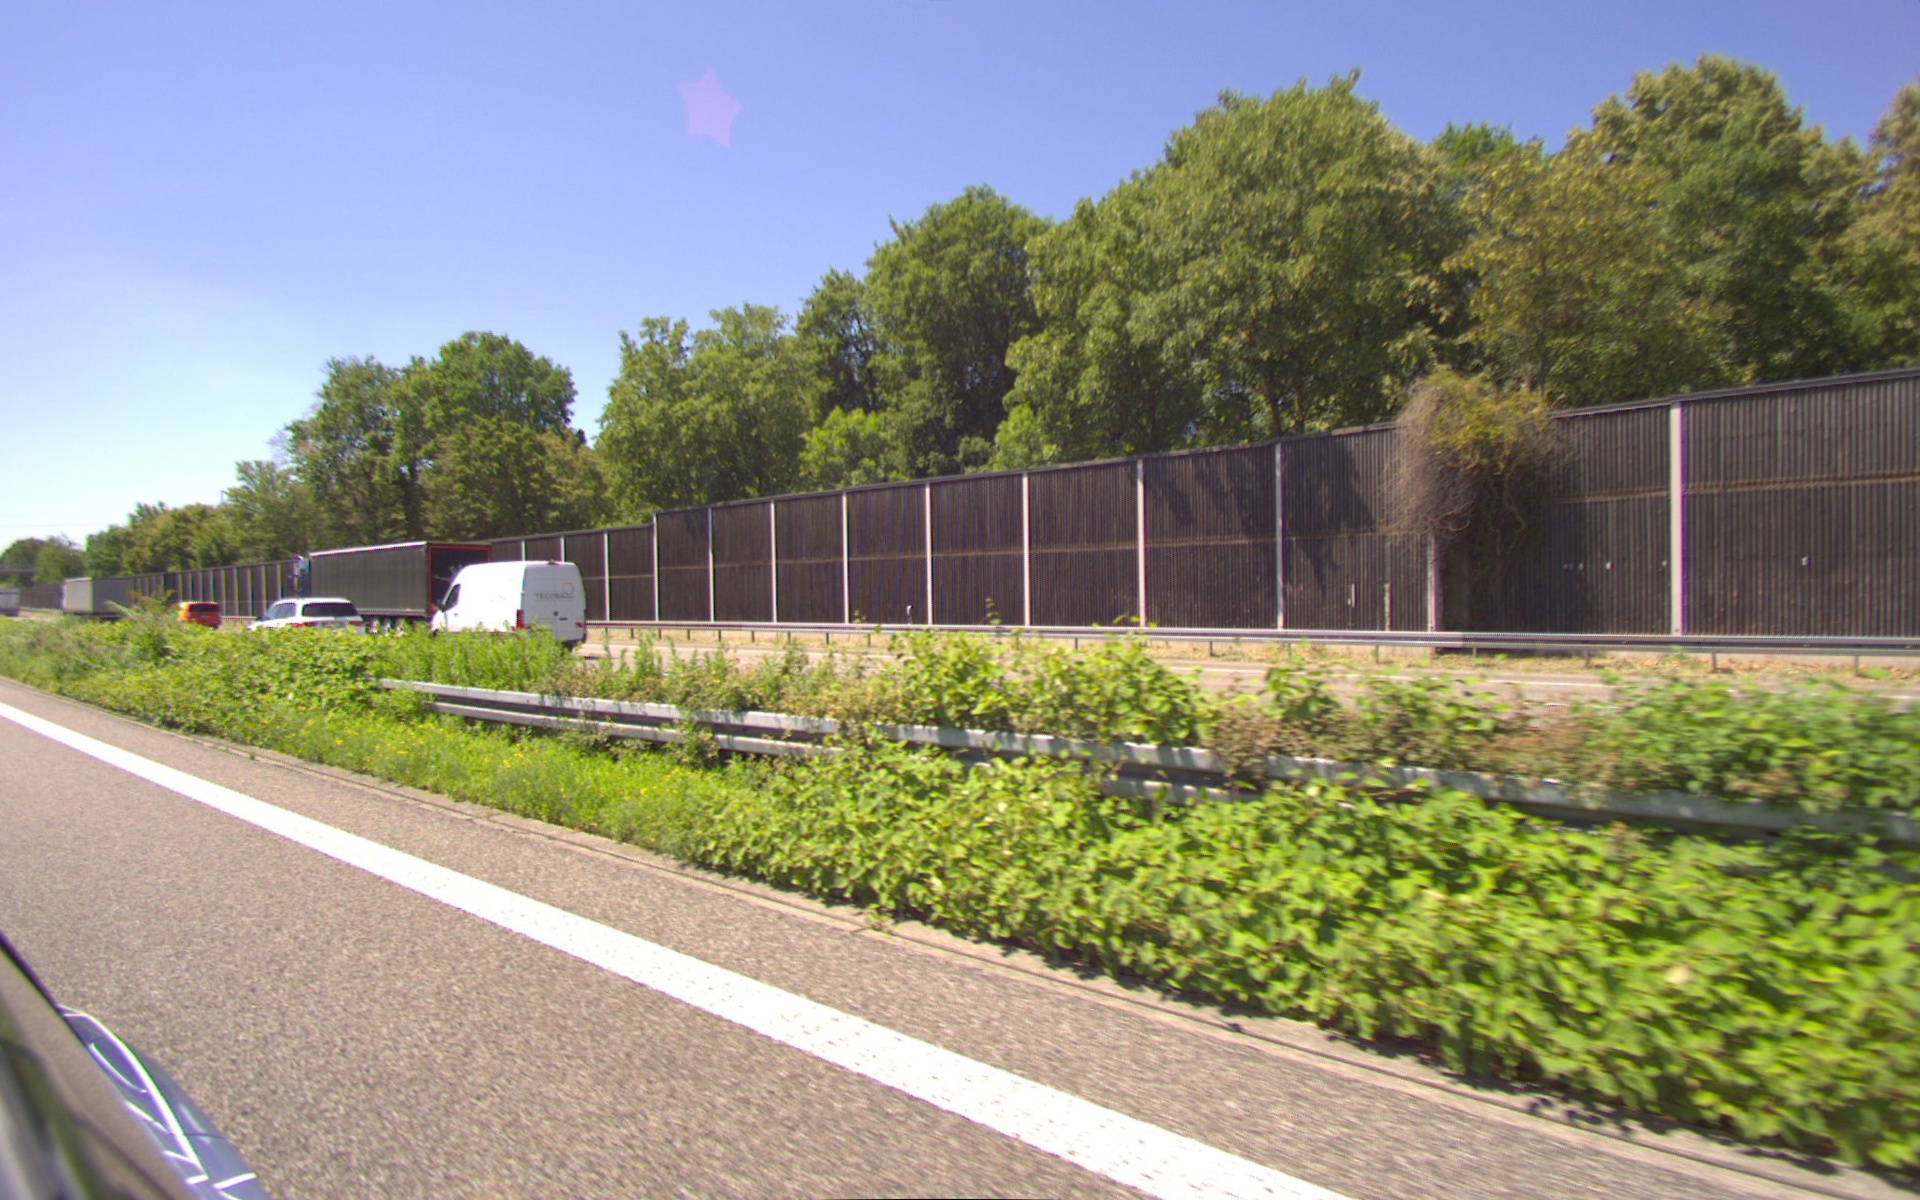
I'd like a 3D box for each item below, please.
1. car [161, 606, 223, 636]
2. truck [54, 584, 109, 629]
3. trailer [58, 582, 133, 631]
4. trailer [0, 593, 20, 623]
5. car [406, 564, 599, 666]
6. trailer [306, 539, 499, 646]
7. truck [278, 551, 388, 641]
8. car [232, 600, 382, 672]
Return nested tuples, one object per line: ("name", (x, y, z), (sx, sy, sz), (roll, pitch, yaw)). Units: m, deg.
("car", (-51.111, 1.360, 67.322), (5.954, 1.895, 1.974), (-1, 0, 40))
("truck", (-81.082, 0.622, 93.383), (6.591, 4.060, 2.921), (-1, 0, 40))
("trailer", (-76.520, 0.569, 89.471), (13.798, 4.060, 2.932), (-1, 0, 41))
("trailer", (-136.585, 1.161, 144.001), (13.004, 4.060, 3.059), (-1, 0, 42))
("car", (-13.018, 0.410, 28.508), (6.783, 2.559, 2.143), (-1, 1, 40))
("trailer", (-24.619, -0.244, 44.114), (13.324, 4.123, 2.869), (-1, 0, 41))
("truck", (-30.563, -0.173, 49.228), (6.114, 4.123, 2.868), (-1, 0, 41))
("car", (-17.829, 0.930, 27.537), (5.019, 1.733, 1.975), (-1, 1, 40))
